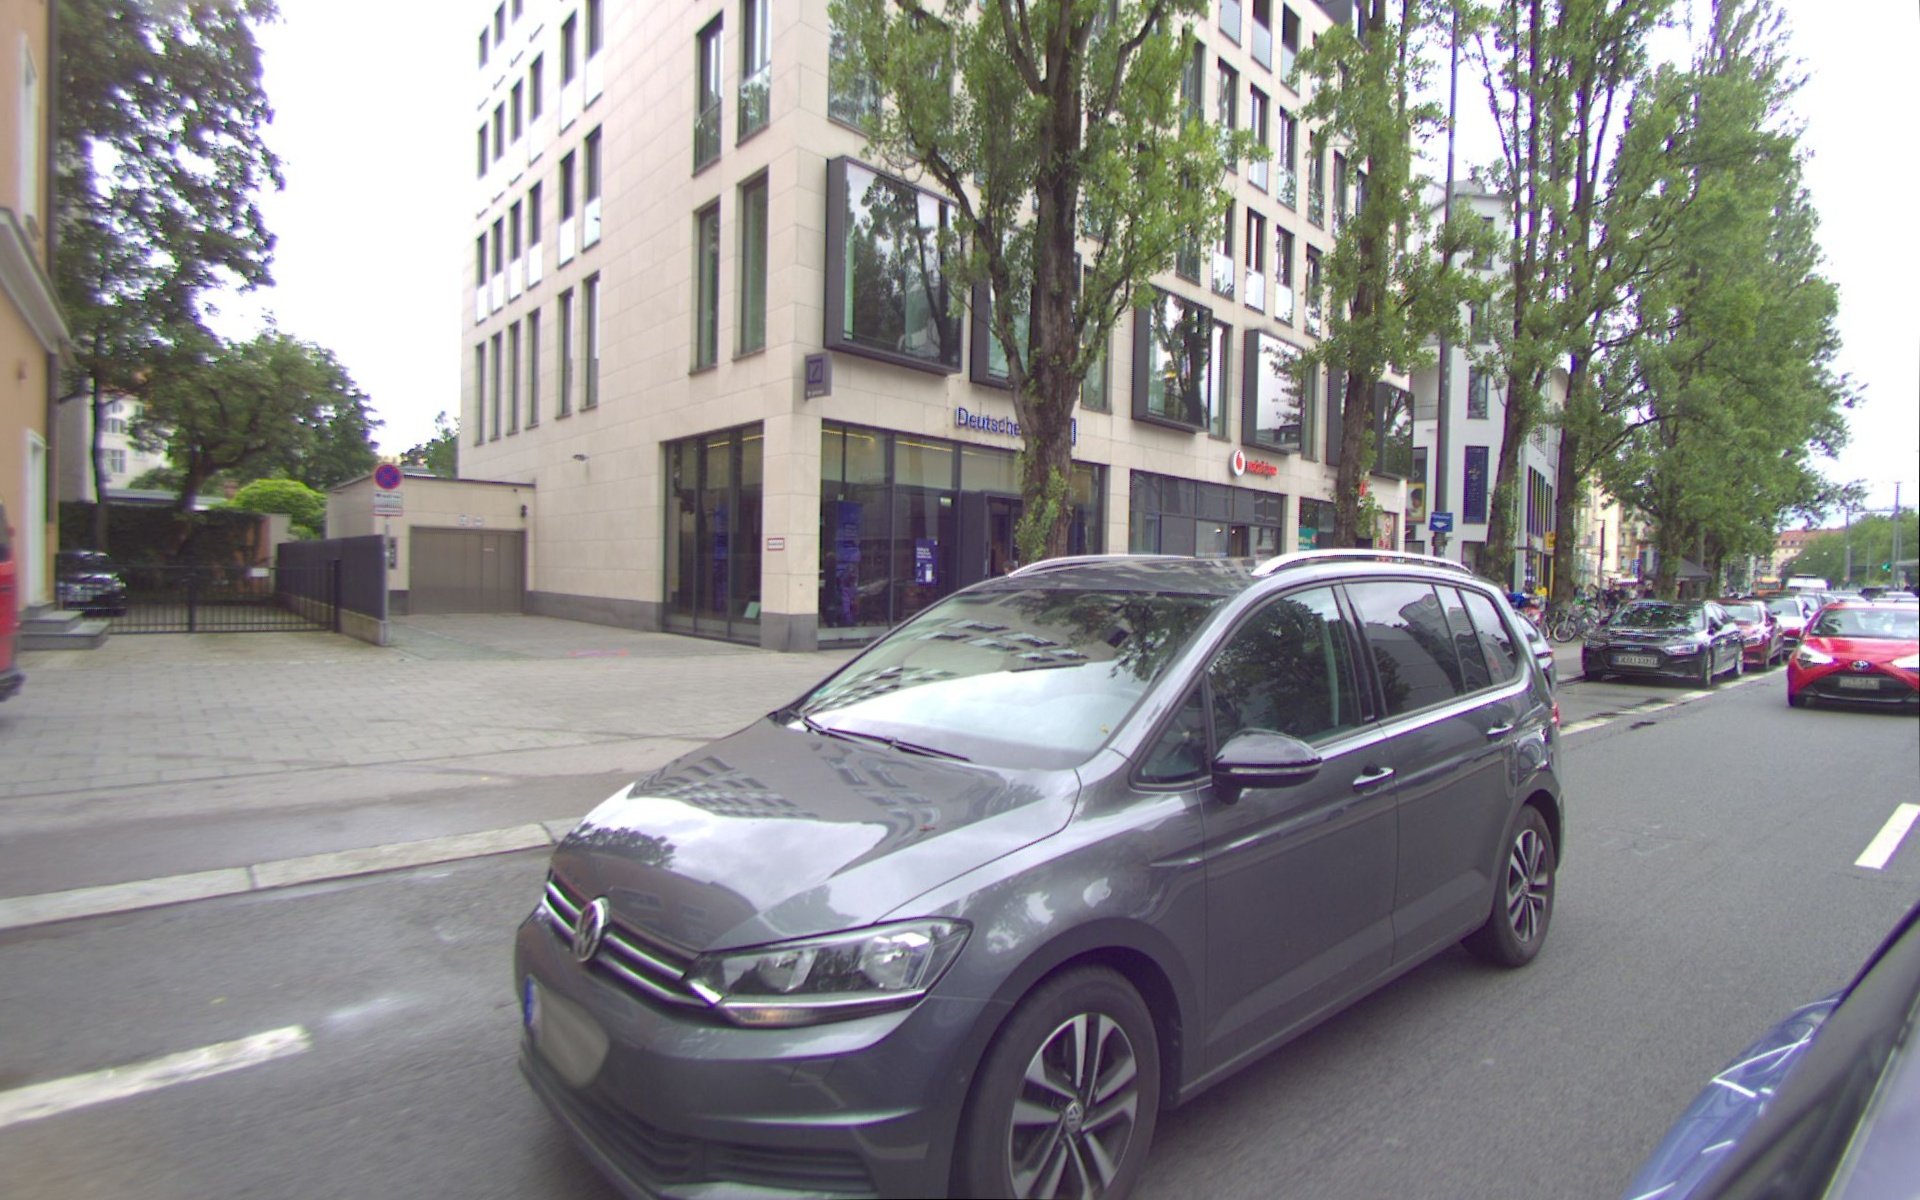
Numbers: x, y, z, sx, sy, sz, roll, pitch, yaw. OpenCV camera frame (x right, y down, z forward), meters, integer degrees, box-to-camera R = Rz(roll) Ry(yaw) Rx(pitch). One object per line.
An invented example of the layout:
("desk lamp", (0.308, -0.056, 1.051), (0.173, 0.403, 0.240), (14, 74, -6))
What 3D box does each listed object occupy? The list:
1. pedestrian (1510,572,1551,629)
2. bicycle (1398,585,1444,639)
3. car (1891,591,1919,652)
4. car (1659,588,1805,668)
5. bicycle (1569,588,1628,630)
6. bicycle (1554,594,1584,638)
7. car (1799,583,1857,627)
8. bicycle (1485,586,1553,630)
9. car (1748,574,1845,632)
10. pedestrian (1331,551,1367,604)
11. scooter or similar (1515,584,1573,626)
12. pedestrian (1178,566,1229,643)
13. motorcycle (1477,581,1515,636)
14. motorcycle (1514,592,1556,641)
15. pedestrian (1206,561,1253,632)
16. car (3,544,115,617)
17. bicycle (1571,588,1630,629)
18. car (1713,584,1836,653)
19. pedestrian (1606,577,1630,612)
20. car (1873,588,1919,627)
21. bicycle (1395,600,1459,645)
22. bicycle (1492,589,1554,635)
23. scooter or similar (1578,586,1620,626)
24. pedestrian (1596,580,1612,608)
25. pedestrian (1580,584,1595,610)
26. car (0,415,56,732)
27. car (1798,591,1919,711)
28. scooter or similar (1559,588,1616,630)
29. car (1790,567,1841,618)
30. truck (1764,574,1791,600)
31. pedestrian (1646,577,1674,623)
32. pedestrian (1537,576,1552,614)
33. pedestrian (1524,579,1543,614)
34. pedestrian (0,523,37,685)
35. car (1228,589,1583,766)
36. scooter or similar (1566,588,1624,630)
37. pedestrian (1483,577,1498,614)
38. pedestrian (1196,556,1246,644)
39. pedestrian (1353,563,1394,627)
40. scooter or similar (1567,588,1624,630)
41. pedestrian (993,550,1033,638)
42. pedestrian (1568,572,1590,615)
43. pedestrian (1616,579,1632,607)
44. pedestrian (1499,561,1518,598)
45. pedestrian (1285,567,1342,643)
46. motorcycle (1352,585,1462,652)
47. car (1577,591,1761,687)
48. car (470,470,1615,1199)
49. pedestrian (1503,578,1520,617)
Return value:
("pedestrian", (16.825, 0.001, 29.860), (0.600, 1.639, 0.796), (1, 2, -26))
("bicycle", (10.801, 0.258, 23.702), (0.455, 1.202, 1.689), (3, 2, 42))
("car", (25.257, 0.531, 26.154), (1.735, 1.488, 3.988), (2, 1, 43))
("car", (16.685, 0.515, 21.783), (1.931, 1.468, 4.728), (3, 2, 44))
("bicycle", (19.974, 0.268, 31.670), (1.478, 1.222, 0.528), (3, 2, 42))
("bicycle", (16.248, 0.405, 26.990), (0.639, 1.076, 1.751), (3, 2, 32))
("car", (35.922, 0.178, 41.910), (1.725, 1.707, 4.344), (1, 1, 40))
("bicycle", (16.340, 0.231, 29.635), (0.442, 1.186, 1.772), (1, 2, -26))
("car", (26.702, 0.028, 32.251), (4.574, 1.721, 1.926), (-1, 2, -44))
("pedestrian", (12.505, -0.716, 32.561), (0.783, 1.681, 0.754), (0, 2, -42))
("scooter or similar", (17.899, 0.148, 31.035), (0.544, 1.226, 1.387), (0, 2, -42))
("pedestrian", (5.406, 0.091, 22.451), (0.736, 1.641, 0.824), (3, 2, 44))
("motorcycle", (14.226, 0.204, 26.896), (0.680, 1.373, 1.631), (2, 2, 22))
("motorcycle", (14.673, 0.401, 25.855), (0.680, 1.170, 1.631), (2, 2, 22))
("pedestrian", (6.491, -0.095, 24.394), (0.706, 1.641, 0.794), (0, 2, -44))
("car", (-20.258, -0.490, 22.882), (1.721, 1.473, 4.126), (0, 2, -40))
("bicycle", (20.318, 0.258, 32.112), (1.478, 1.222, 0.528), (3, 2, 42))
("car", (20.645, 0.409, 25.581), (4.726, 1.519, 1.812), (0, 3, -44))
("pedestrian", (31.703, -0.256, 48.747), (0.799, 1.657, 1.008), (3, 2, 41))
("car", (45.804, 0.312, 49.264), (1.992, 1.771, 3.940), (1, 2, 42))
("bicycle", (10.342, 0.482, 22.388), (1.729, 0.952, 0.435), (1, 2, -35))
("bicycle", (15.526, 0.329, 27.922), (1.424, 1.204, 0.549), (1, 2, -11))
("scooter or similar", (20.654, 0.191, 32.723), (1.050, 1.241, 0.374), (3, 2, 43))
("pedestrian", (39.307, -0.384, 61.779), (0.689, 1.669, 0.787), (2, 2, 37))
("pedestrian", (38.992, -0.177, 62.917), (0.689, 1.604, 0.762), (2, 2, 37))
("car", (-9.349, -0.226, 6.663), (4.726, 2.356, 1.911), (1, 2, -28))
("car", (13.124, 0.637, 14.293), (3.538, 1.464, 1.666), (-1, 2, -45))
("scooter or similar", (19.205, 0.273, 30.984), (1.434, 1.215, 0.307), (3, 2, 42))
("car", (48.076, -0.474, 56.974), (1.990, 2.775, 5.478), (0, 1, 38))
("truck", (114.469, -1.859, 141.742), (2.528, 3.531, 7.649), (2, 2, 37))
("pedestrian", (26.205, -0.011, 37.894), (0.713, 1.696, 0.772), (3, 2, 42))
("pedestrian", (26.439, -0.232, 45.792), (0.489, 1.654, 0.562), (3, 2, 36))
("pedestrian", (27.189, -0.171, 47.954), (0.556, 1.595, 0.674), (2, 2, 14))
("pedestrian", (-9.610, 0.030, 9.875), (0.600, 1.570, 0.710), (3, 2, 22))
("car", (4.800, 0.636, 10.589), (4.357, 1.411, 1.736), (0, 3, -42))
("scooter or similar", (19.480, 0.269, 31.068), (1.434, 1.215, 0.307), (3, 2, 42))
("pedestrian", (23.566, -0.193, 44.977), (0.543, 1.644, 0.503), (0, 1, 25))
("pedestrian", (5.493, -0.015, 21.326), (0.668, 1.794, 0.798), (1, 2, -12))
("pedestrian", (12.798, -0.164, 31.323), (0.923, 1.892, 0.818), (0, 3, -44))
("scooter or similar", (19.678, 0.267, 31.340), (1.434, 1.215, 0.307), (3, 2, 42))
("pedestrian", (0.926, -0.115, 17.658), (0.536, 1.509, 0.505), (1, 1, -15))
("pedestrian", (28.460, -0.306, 46.520), (0.646, 1.948, 0.912), (3, 2, 41))
("pedestrian", (38.573, -0.411, 58.770), (0.681, 1.577, 0.740), (2, 2, 39))
("pedestrian", (24.670, -0.935, 45.523), (0.497, 1.644, 0.550), (-1, 1, -21))
("pedestrian", (7.684, 0.098, 21.990), (0.834, 1.596, 0.924), (3, 2, 42))
("motorcycle", (9.238, 0.360, 20.988), (1.945, 1.267, 0.637), (2, 2, 15))
("car", (12.693, 0.592, 18.011), (4.351, 1.446, 1.849), (0, 2, -44))
("car", (0.667, 0.572, 3.674), (4.110, 1.634, 1.765), (0, 1, -40))
("pedestrian", (22.525, -0.110, 41.317), (0.489, 1.586, 0.562), (3, 2, 36))
